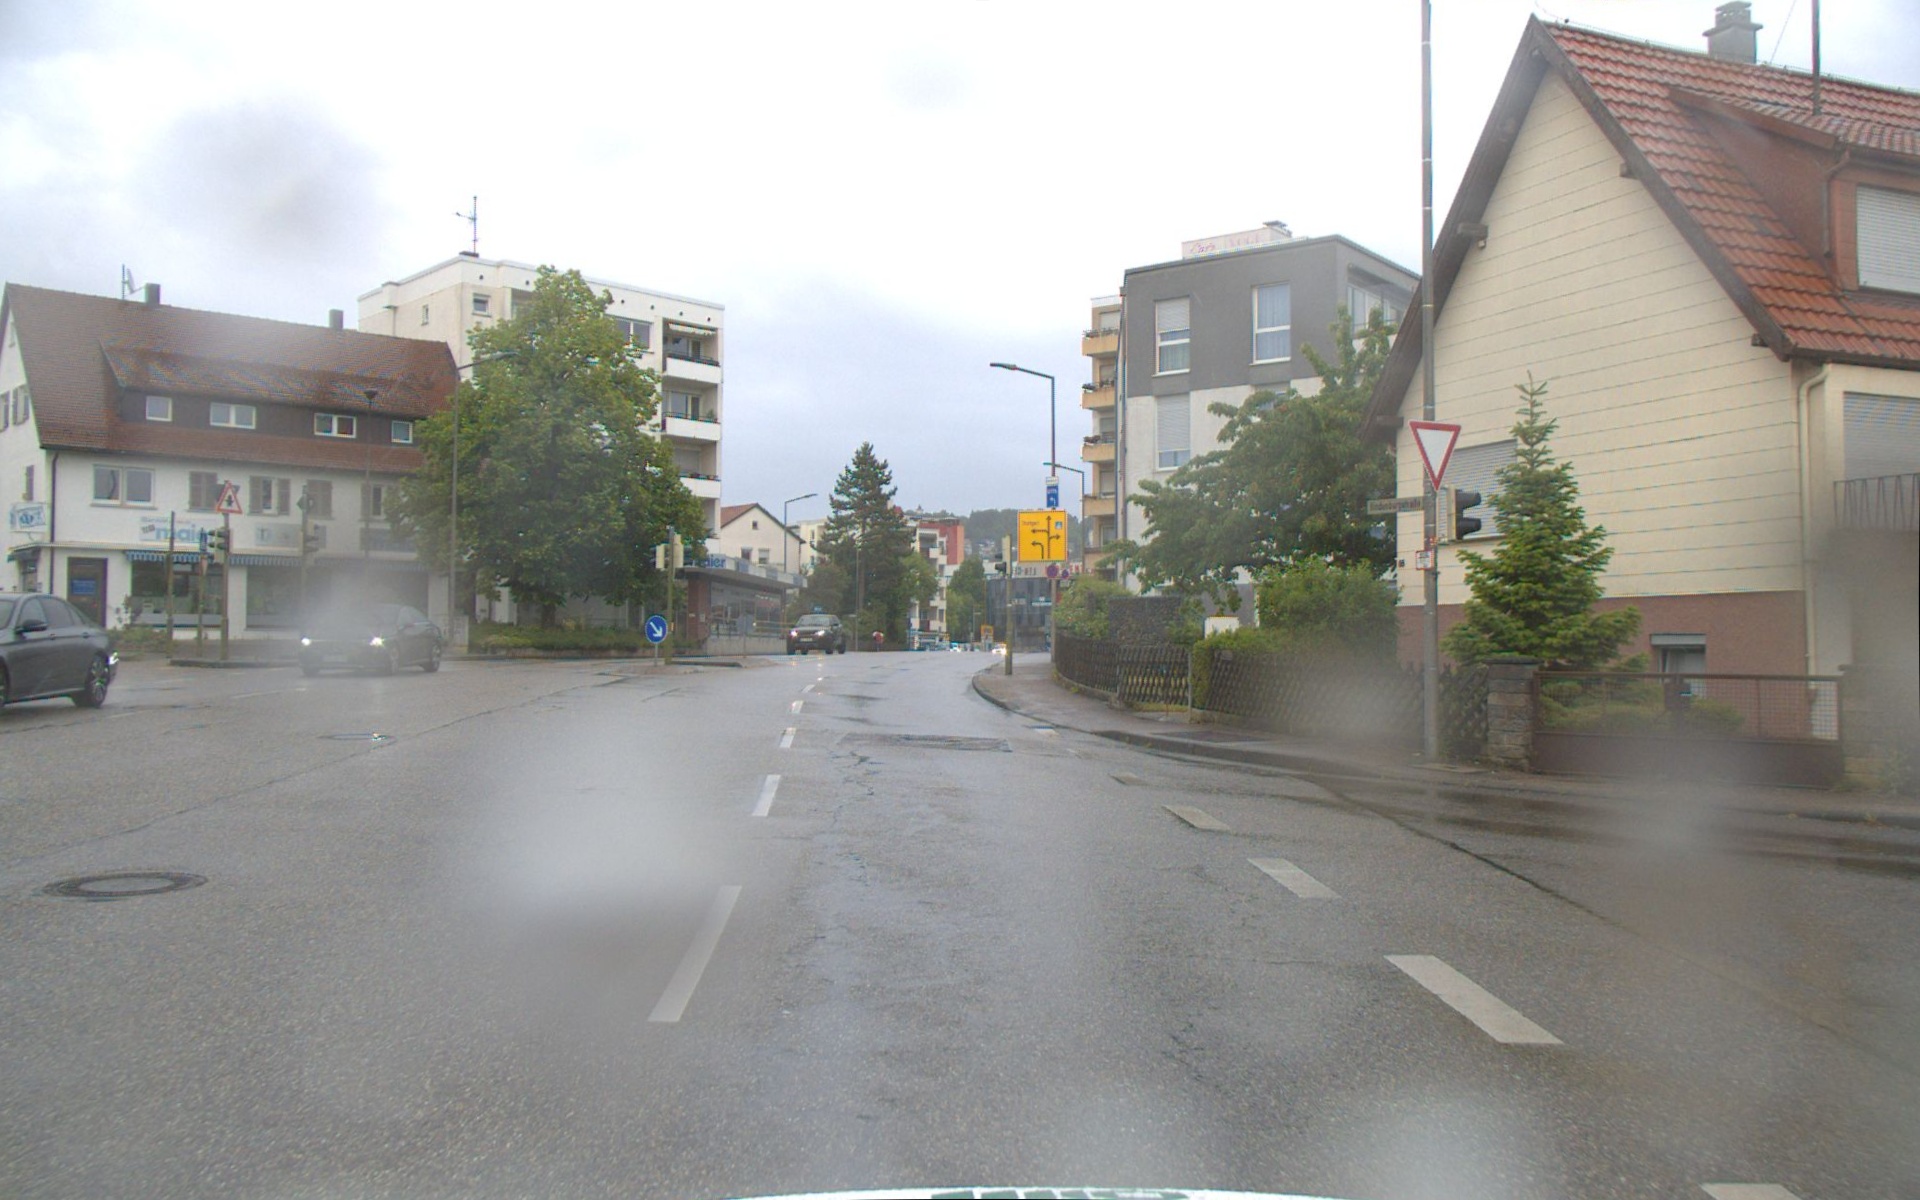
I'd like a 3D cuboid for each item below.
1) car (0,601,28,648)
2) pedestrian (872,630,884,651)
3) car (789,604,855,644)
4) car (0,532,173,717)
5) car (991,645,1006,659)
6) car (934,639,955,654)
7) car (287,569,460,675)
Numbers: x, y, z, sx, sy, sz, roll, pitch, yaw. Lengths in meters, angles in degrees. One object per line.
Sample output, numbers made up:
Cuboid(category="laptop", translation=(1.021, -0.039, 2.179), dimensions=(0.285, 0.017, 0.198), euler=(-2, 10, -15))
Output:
Cuboid(category="car", translation=(-33.823, 0.805, 55.712), dimensions=(3.960, 1.553, 1.972), euler=(1, -1, -39))
Cuboid(category="pedestrian", translation=(-6.521, 3.207, 131.656), dimensions=(0.851, 1.635, 1.103), euler=(0, -3, -2))
Cuboid(category="car", translation=(-5.654, 0.992, 68.379), dimensions=(1.764, 1.584, 4.321), euler=(0, -1, 9))
Cuboid(category="car", translation=(-11.891, 0.314, 20.377), dimensions=(2.050, 2.049, 5.971), euler=(-2, 0, -6))
Cuboid(category="car", translation=(4.567, 6.147, 195.519), dimensions=(1.662, 1.434, 4.001), euler=(-2, -1, 3))
Cuboid(category="car", translation=(-1.649, 4.865, 173.651), dimensions=(1.616, 1.548, 4.327), euler=(0, -2, 7))
Cuboid(category="car", translation=(-12.106, 0.445, 34.477), dimensions=(1.953, 2.049, 4.651), euler=(0, 0, -1))
